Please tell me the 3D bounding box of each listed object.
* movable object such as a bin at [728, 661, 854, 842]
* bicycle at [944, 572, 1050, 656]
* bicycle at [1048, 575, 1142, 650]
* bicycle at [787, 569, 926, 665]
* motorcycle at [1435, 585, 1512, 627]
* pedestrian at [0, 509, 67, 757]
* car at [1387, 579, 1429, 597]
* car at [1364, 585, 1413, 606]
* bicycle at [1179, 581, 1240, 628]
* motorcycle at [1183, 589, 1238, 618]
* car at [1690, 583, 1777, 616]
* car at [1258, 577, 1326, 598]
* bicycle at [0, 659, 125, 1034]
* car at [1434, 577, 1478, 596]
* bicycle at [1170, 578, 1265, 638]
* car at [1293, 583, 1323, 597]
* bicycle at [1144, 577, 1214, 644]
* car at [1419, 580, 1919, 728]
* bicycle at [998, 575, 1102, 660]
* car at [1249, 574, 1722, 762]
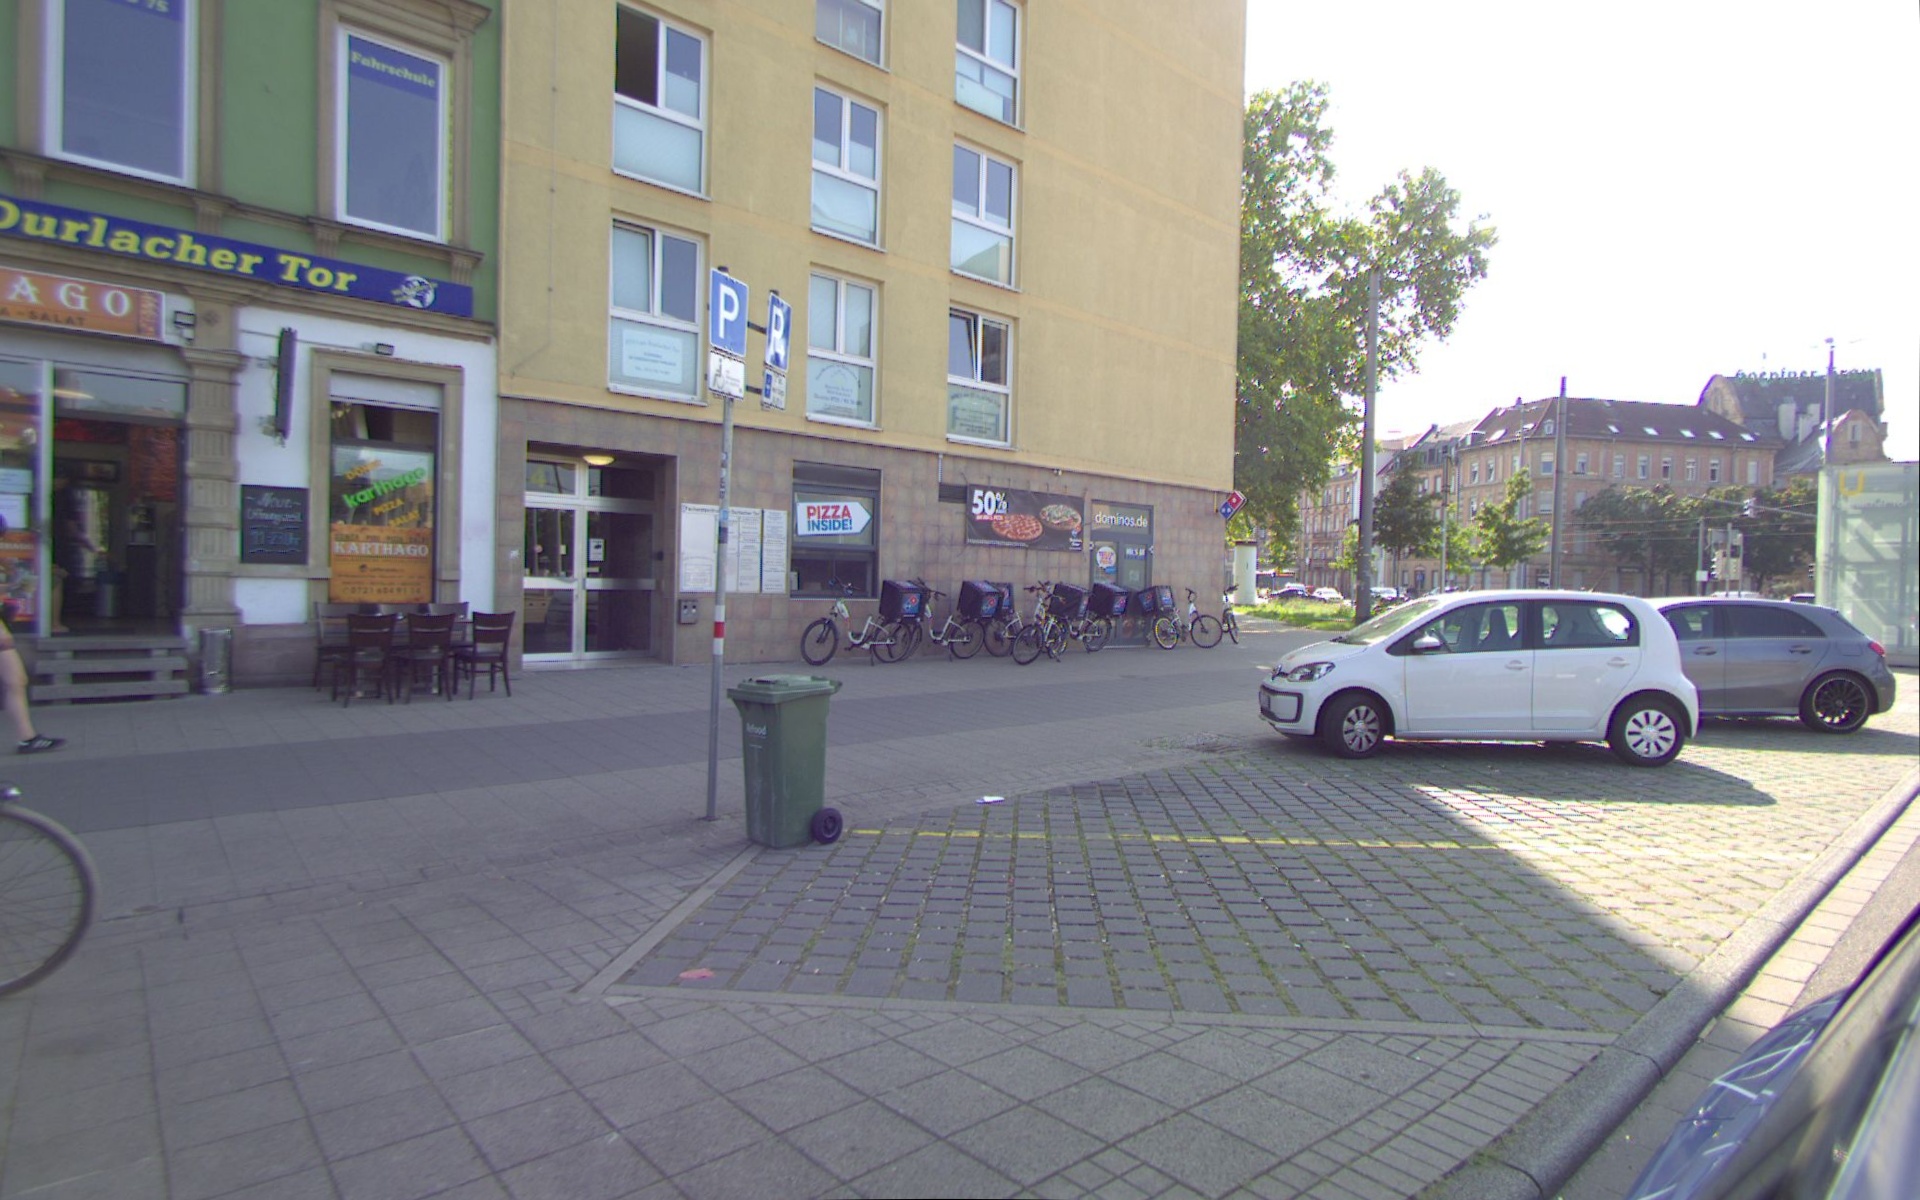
[{"bbox_3d":[-0.969,0.835,5.791,0.527,0.914,0.491,0,1,-38],"label":"movable object such as a bin"},{"bbox_3d":[0.634,0.204,16.432,0.602,1.277,1.968,2,2,41],"label":"bicycle"},{"bbox_3d":[2.442,0.205,18.162,1.817,1.277,0.603,0,2,-42],"label":"bicycle"},{"bbox_3d":[-1.450,0.225,14.437,1.962,1.277,0.603,0,2,-41],"label":"bicycle"},{"bbox_3d":[14.758,0.165,29.085,2.253,1.161,0.707,1,1,-25],"label":"motorcycle"},{"bbox_3d":[-6.615,0.209,6.929,0.724,1.649,0.610,0,1,-40],"label":"pedestrian"},{"bbox_3d":[44.903,-1.188,101.592,1.778,1.644,4.297,2,1,-9],"label":"car"},{"bbox_3d":[32.807,-0.357,77.536,1.766,1.459,3.638,1,2,-10],"label":"car"},{"bbox_3d":[6.911,0.119,27.934,0.523,1.250,2.264,2,2,45],"label":"bicycle"},{"bbox_3d":[9.161,0.115,37.000,1.916,1.014,0.707,1,1,-25],"label":"motorcycle"},{"bbox_3d":[50.356,-0.065,65.963,1.757,1.910,4.299,3,1,-13],"label":"car"},{"bbox_3d":[24.680,-0.951,75.326,4.317,1.387,1.999,2,1,2],"label":"car"},{"bbox_3d":[-3.595,0.796,2.970,1.759,1.148,0.384,0,2,-41],"label":"bicycle"},{"bbox_3d":[45.790,-1.284,93.468,1.709,1.601,3.982,2,1,-6],"label":"car"},{"bbox_3d":[5.724,0.161,22.573,0.659,1.221,2.021,1,2,-40],"label":"bicycle"},{"bbox_3d":[40.934,-1.172,119.245,1.642,1.465,3.788,2,1,-10],"label":"car"},{"bbox_3d":[4.370,0.199,20.160,1.608,1.277,0.469,0,2,-42],"label":"bicycle"},{"bbox_3d":[7.871,0.533,11.625,4.335,1.441,1.844,1,1,8],"label":"car"},{"bbox_3d":[1.470,0.259,16.229,0.602,1.277,1.968,2,2,41],"label":"bicycle"},{"bbox_3d":[4.587,0.527,9.309,3.469,1.482,1.620,1,1,8],"label":"car"}]
